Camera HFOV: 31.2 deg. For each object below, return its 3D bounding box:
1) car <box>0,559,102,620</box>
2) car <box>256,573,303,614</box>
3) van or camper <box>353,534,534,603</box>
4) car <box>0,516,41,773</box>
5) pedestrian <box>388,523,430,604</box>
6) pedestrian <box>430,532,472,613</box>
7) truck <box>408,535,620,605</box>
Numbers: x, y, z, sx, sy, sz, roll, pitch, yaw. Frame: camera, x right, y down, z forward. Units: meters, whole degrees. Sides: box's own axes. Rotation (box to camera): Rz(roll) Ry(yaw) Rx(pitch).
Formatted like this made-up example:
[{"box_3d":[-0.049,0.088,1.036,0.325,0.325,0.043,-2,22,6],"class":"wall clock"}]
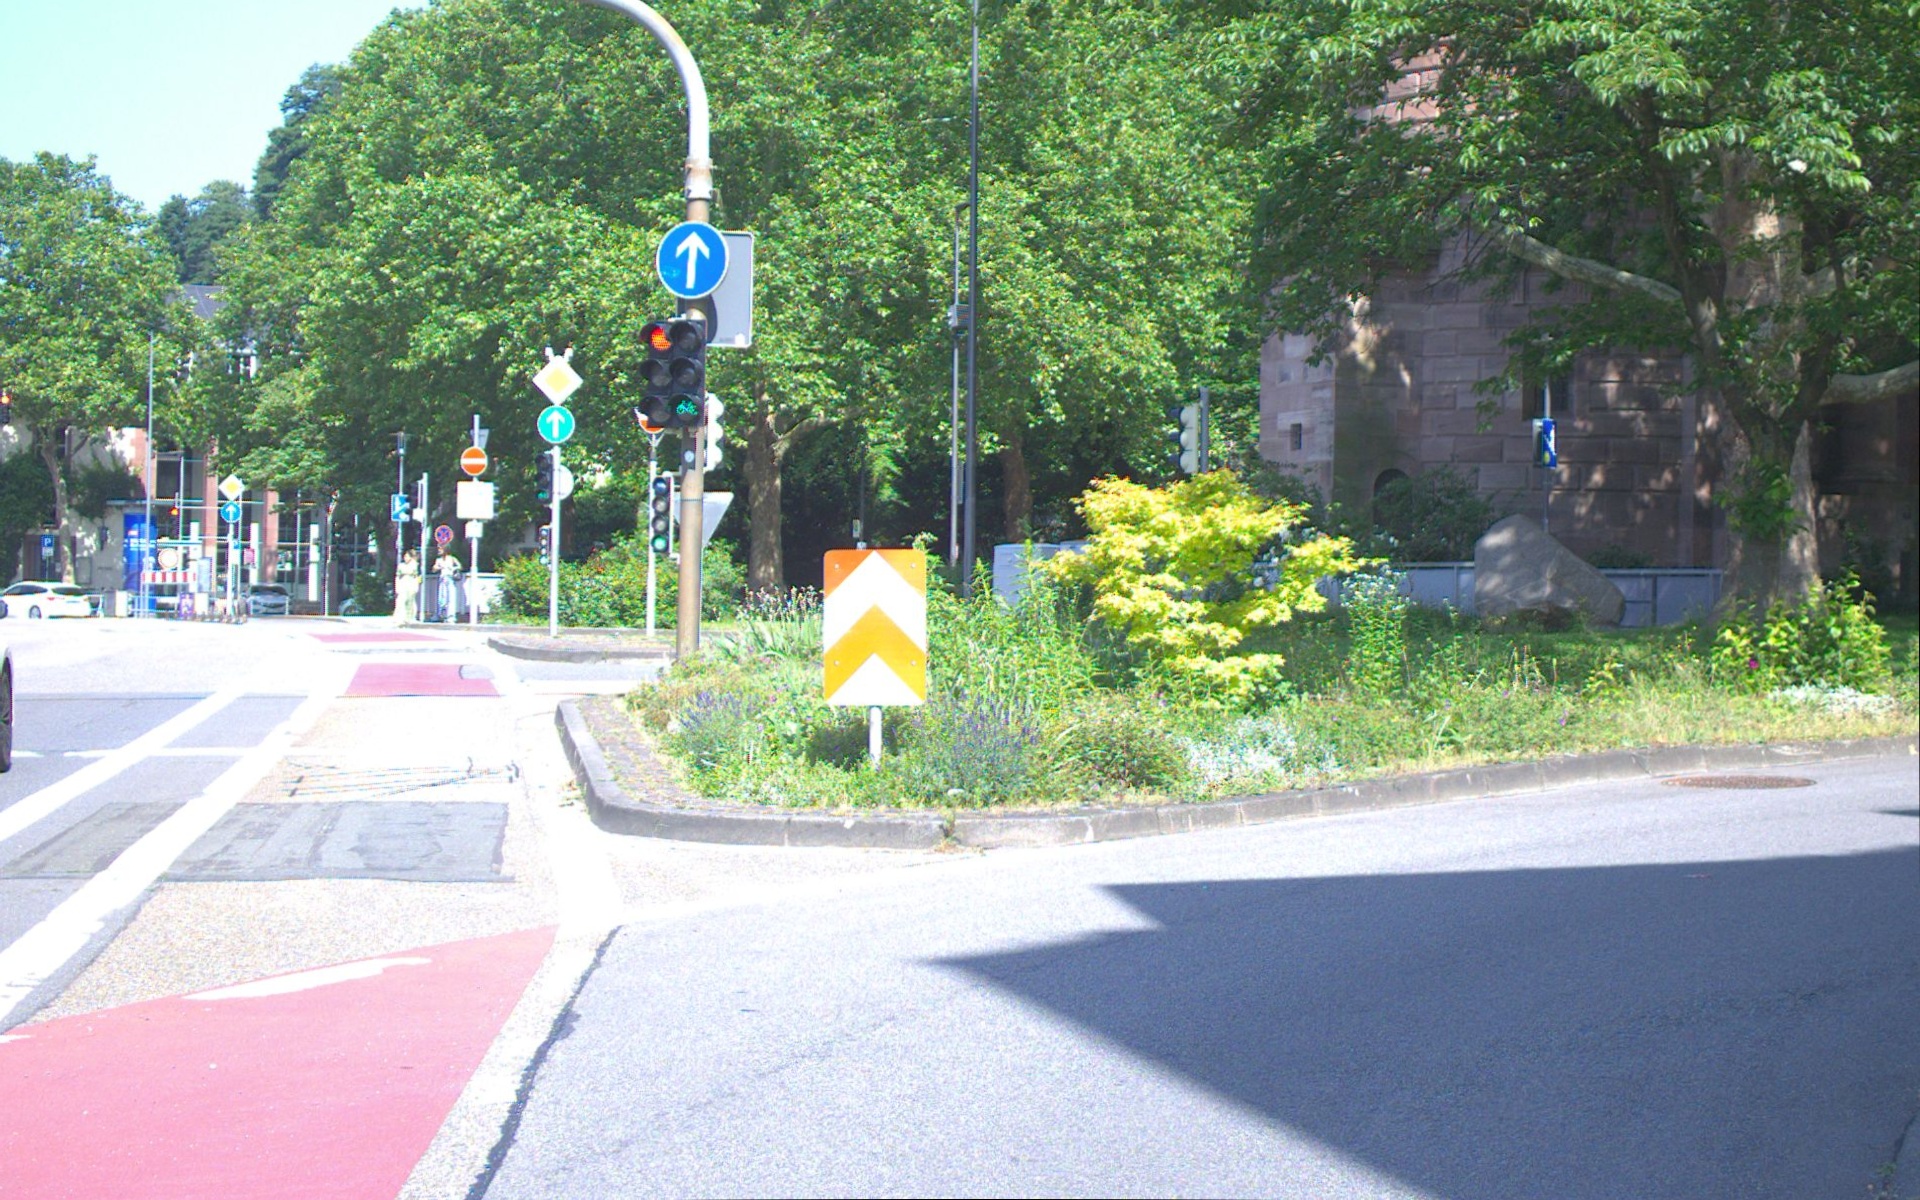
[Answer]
[{"box_3d":[-31.353,-0.366,116.844,3.993,2.007,1.940,0,1,29],"class":"car"},{"box_3d":[-26.190,-0.260,132.365,1.730,1.509,3.623,-1,1,-11],"class":"car"},{"box_3d":[-14.351,-0.882,95.566,4.544,1.895,1.999,0,1,12],"class":"van or camper"},{"box_3d":[-6.492,0.281,19.581,1.785,1.527,4.738,0,1,-7],"class":"car"},{"box_3d":[-11.790,-0.782,73.569,0.761,1.713,0.795,0,1,1],"class":"pedestrian"},{"box_3d":[-10.902,-0.594,73.645,0.761,1.703,0.878,0,1,1],"class":"pedestrian"},{"box_3d":[-13.148,-0.912,101.164,6.262,2.007,2.160,1,1,32],"class":"truck"}]
